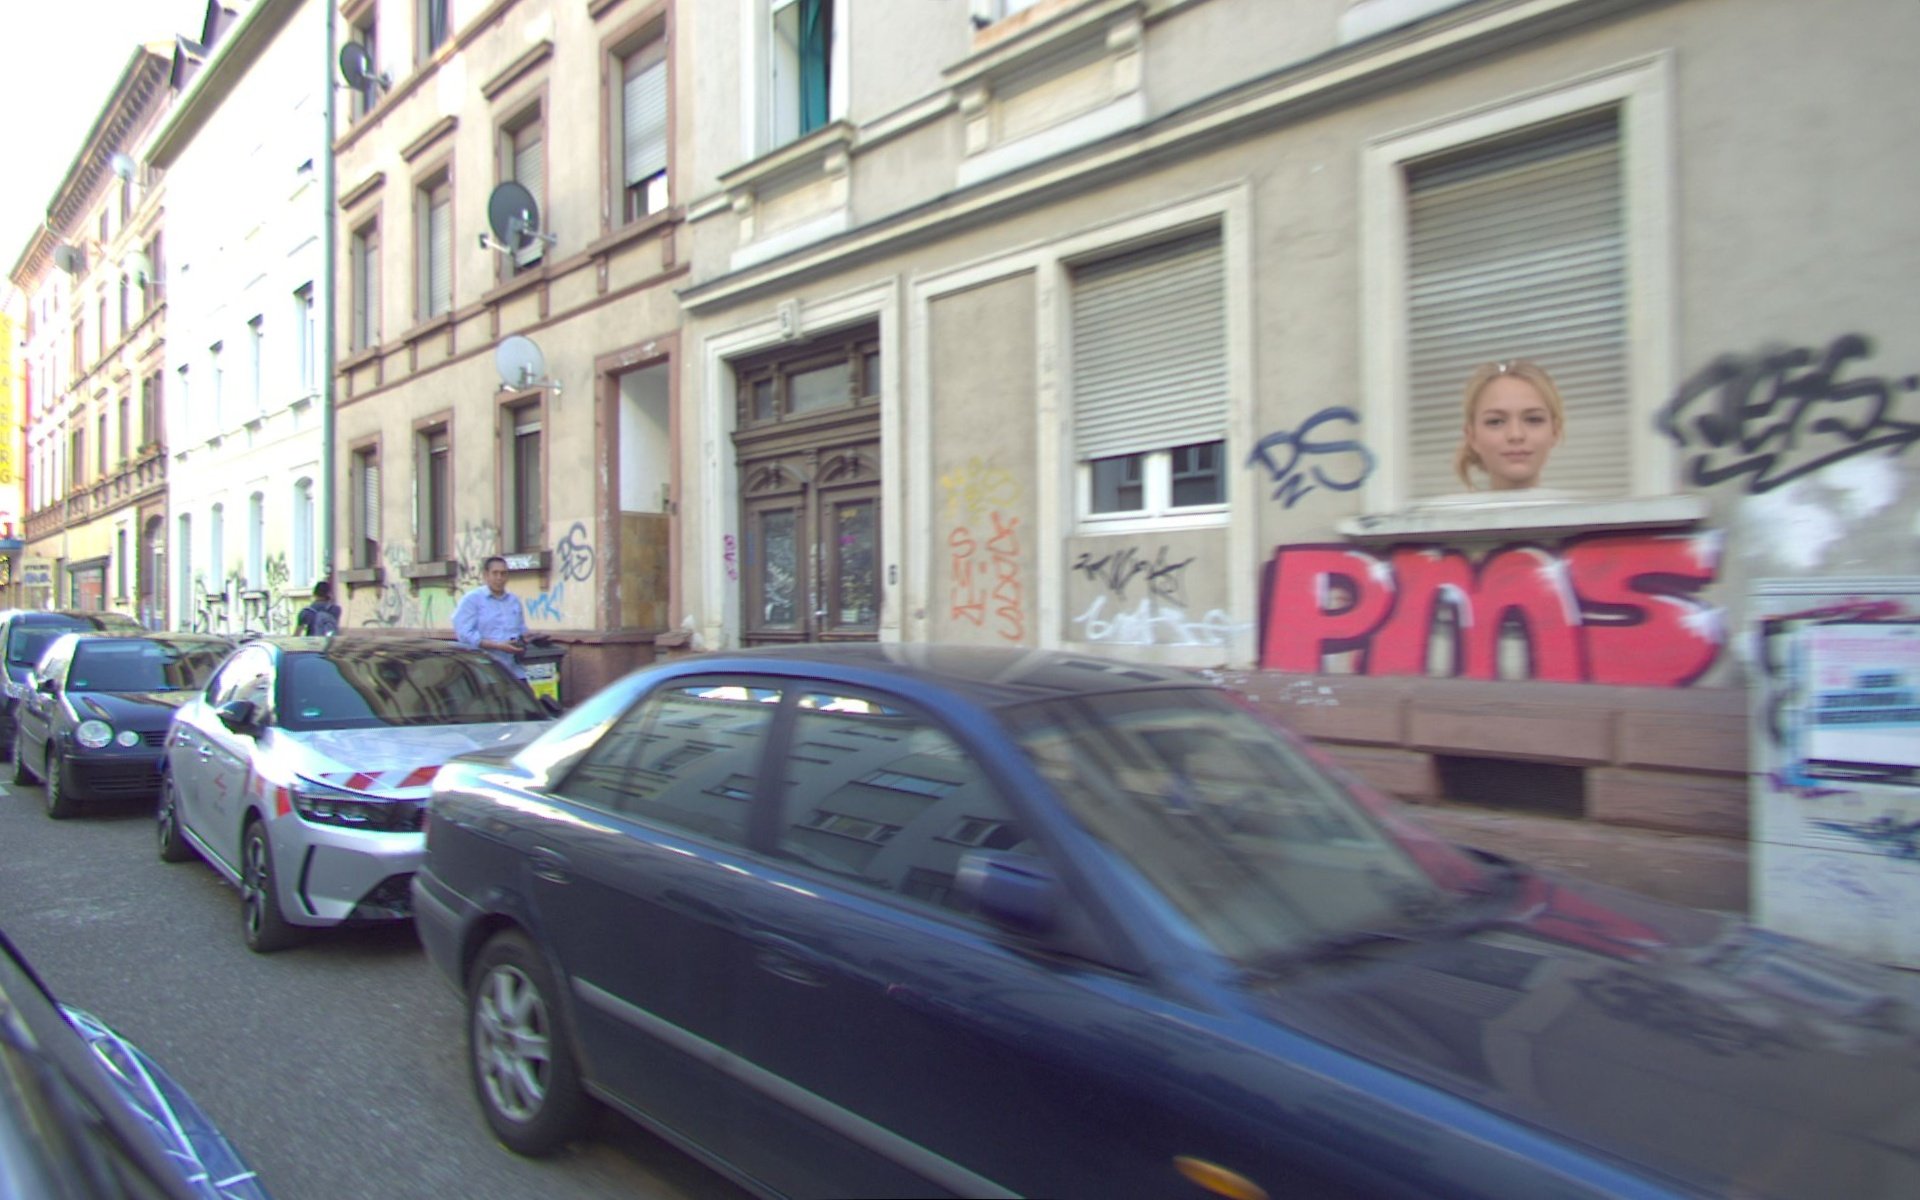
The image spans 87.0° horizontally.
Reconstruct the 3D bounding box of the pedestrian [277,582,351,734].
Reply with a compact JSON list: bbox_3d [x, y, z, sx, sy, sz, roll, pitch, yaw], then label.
[{"bbox_3d":[-8.180,0.711,12.812,0.594,1.844,0.618,-2,0,42],"label":"pedestrian"}]

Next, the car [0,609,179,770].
[{"bbox_3d":[-11.132,0.986,12.490,3.858,1.696,1.661,-2,-2,41],"label":"car"}]

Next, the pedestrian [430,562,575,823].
[{"bbox_3d":[-3.441,0.651,7.629,0.594,1.844,0.780,-2,0,41],"label":"pedestrian"}]

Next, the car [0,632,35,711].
[{"bbox_3d":[-19.241,1.343,19.509,3.858,1.426,1.661,-2,-2,41],"label":"car"}]

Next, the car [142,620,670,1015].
[{"bbox_3d":[-3.375,0.872,5.795,1.660,1.474,3.862,1,-2,-45],"label":"car"}]

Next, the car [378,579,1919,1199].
[{"bbox_3d":[0.260,0.755,2.510,4.311,1.474,1.661,-2,-2,41],"label":"car"}]

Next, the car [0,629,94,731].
[{"bbox_3d":[-15.345,1.218,16.252,3.858,1.468,1.661,-2,-2,41],"label":"car"}]

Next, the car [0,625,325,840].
[{"bbox_3d":[-7.189,0.973,8.926,3.858,1.474,1.661,-2,-2,41],"label":"car"}]

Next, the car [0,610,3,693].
[{"bbox_3d":[-24.302,1.215,24.233,4.771,1.906,1.728,-2,-2,43],"label":"car"}]
